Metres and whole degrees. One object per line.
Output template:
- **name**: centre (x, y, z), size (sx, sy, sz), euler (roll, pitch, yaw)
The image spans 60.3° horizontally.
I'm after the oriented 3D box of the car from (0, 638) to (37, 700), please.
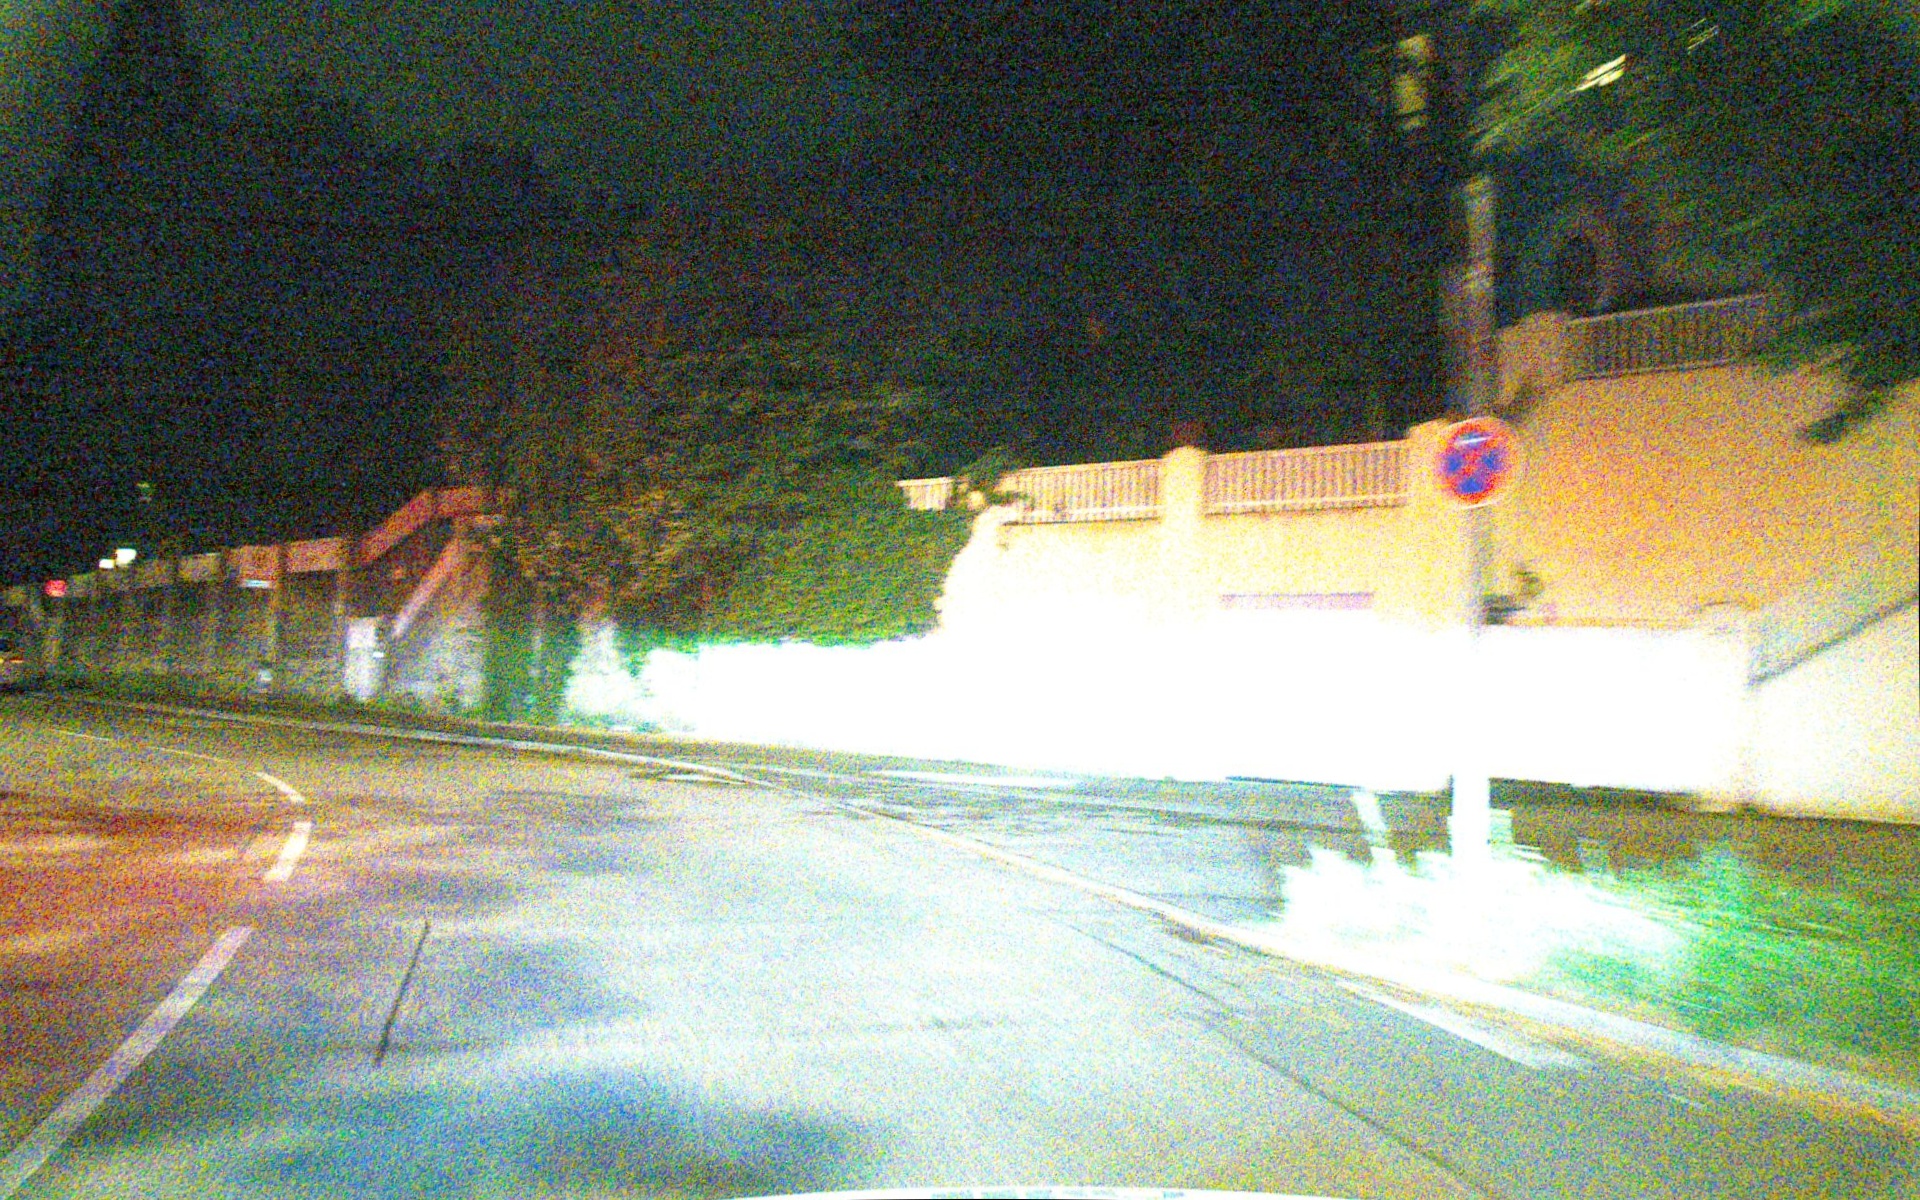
- **car**: centre (-27.299, 1.891, 46.120), size (1.745, 1.622, 4.657), euler (6, -5, -40)
